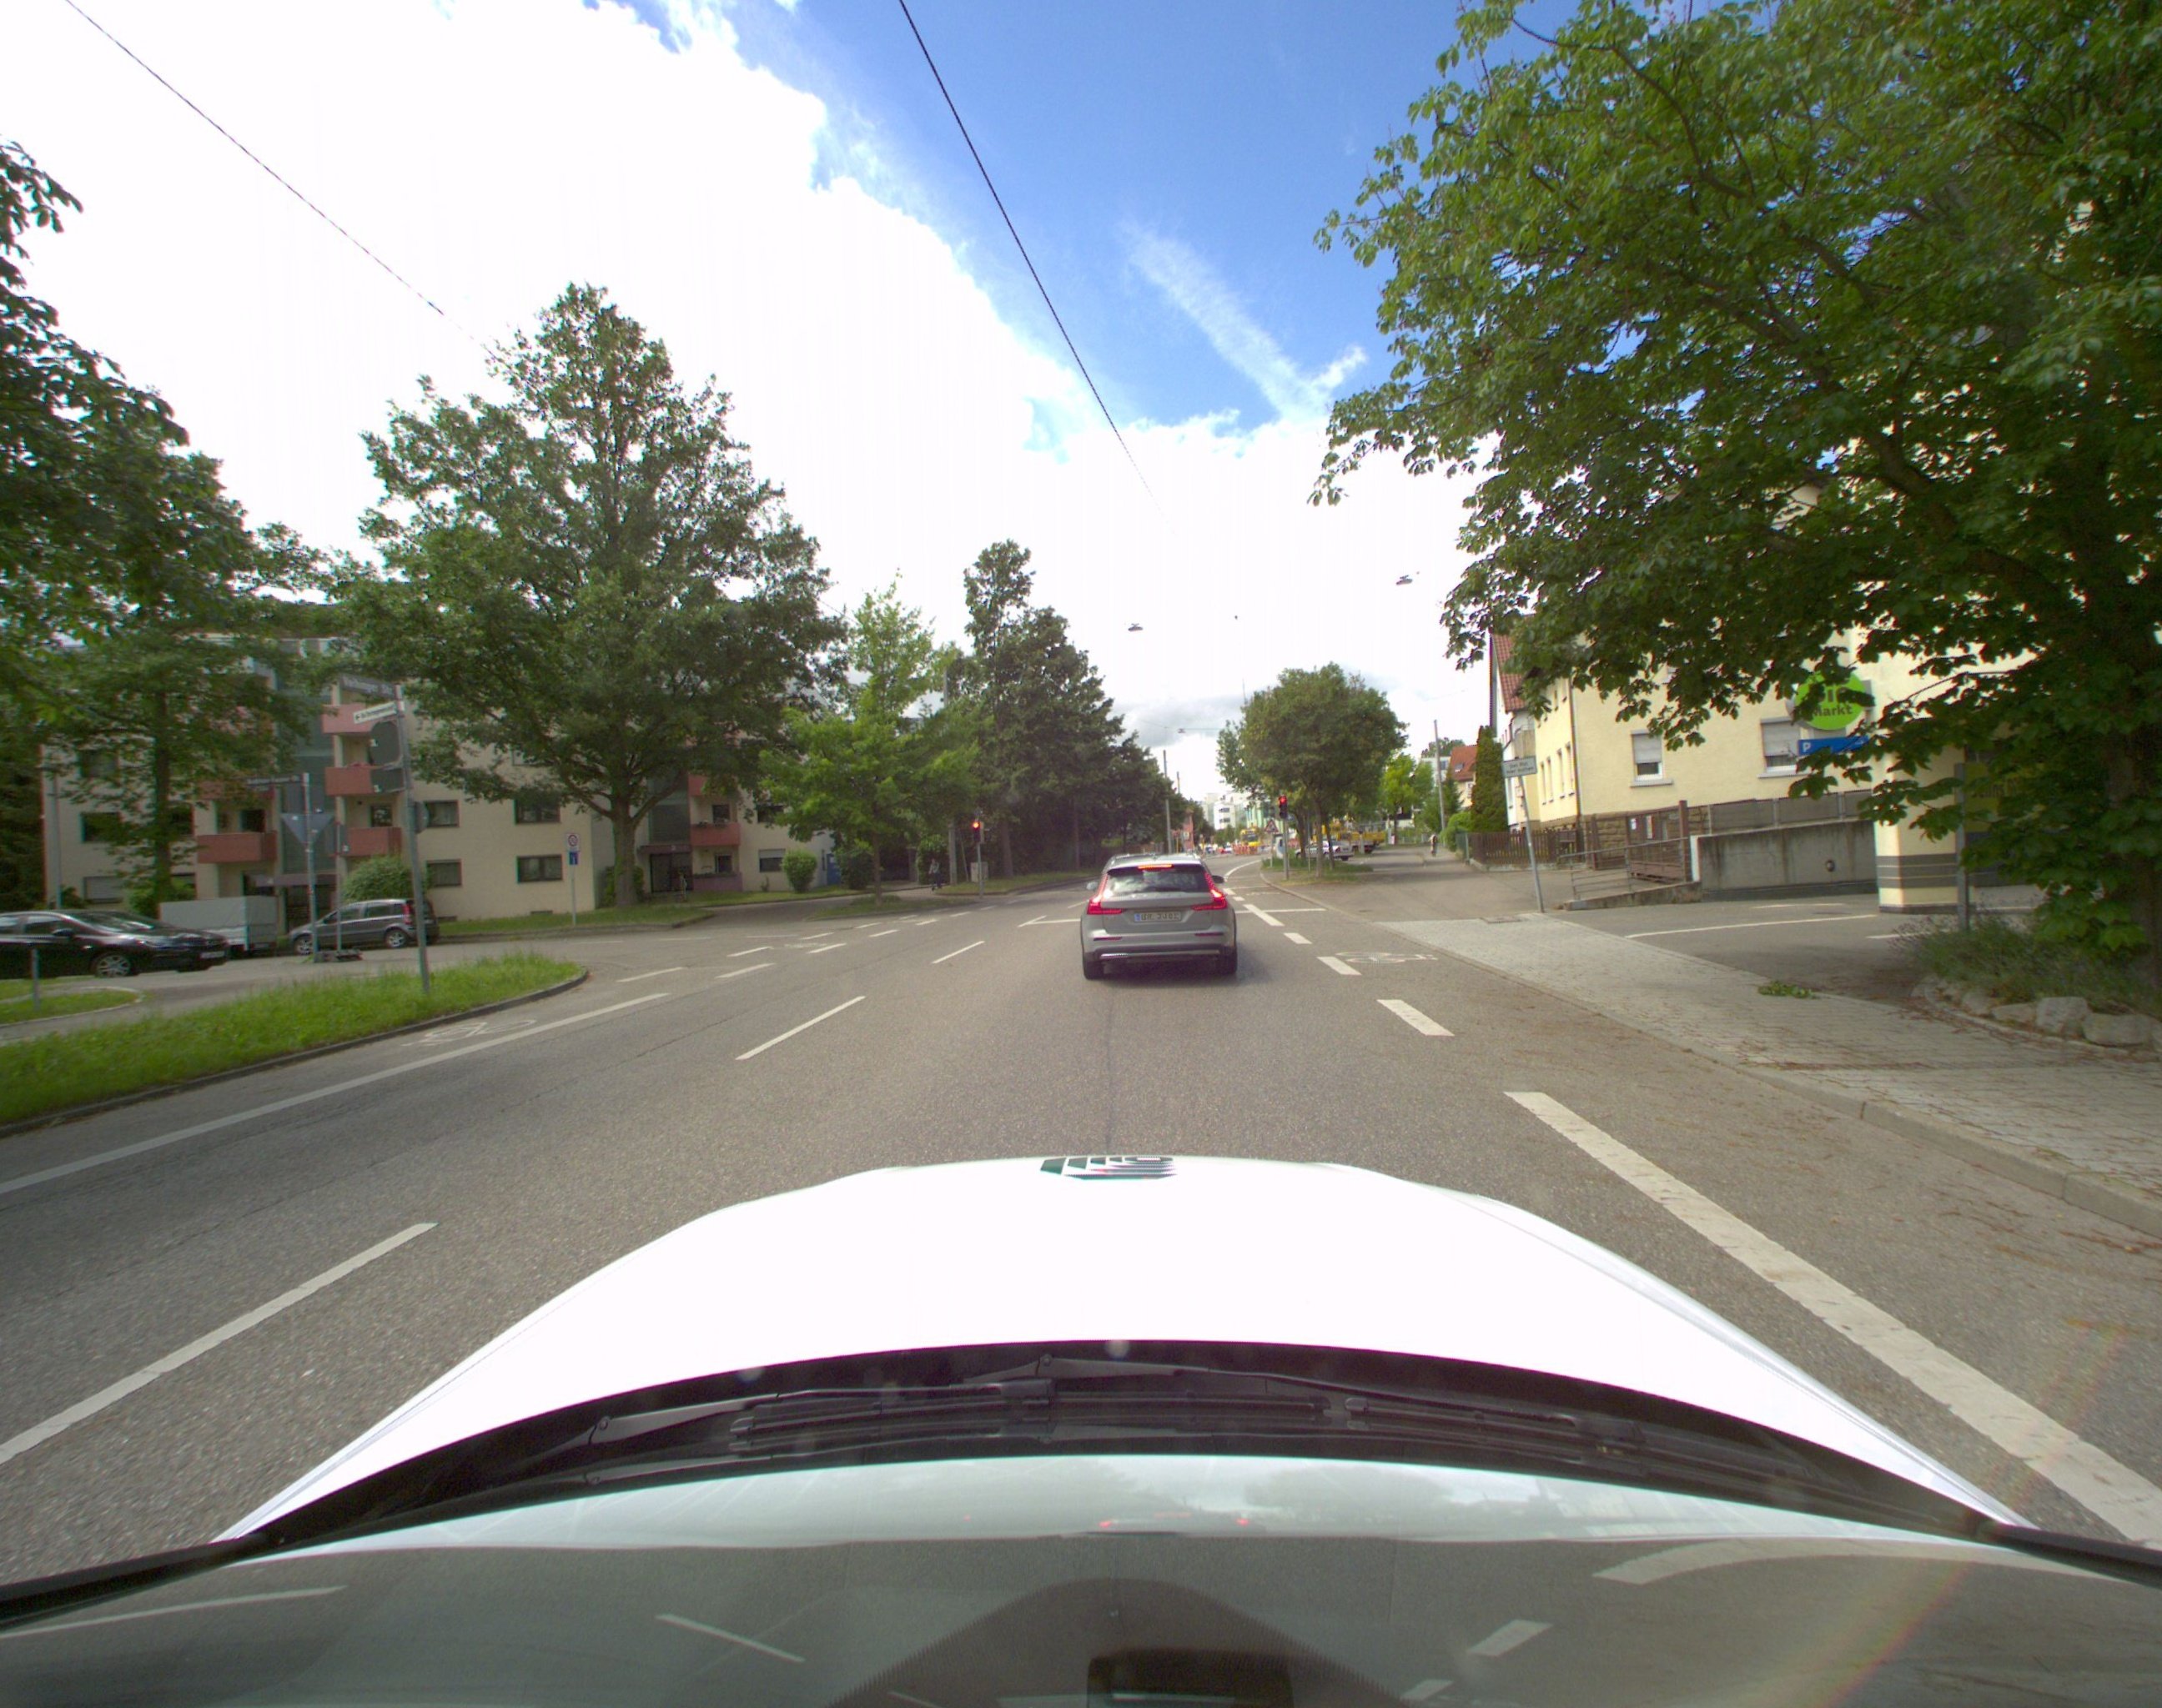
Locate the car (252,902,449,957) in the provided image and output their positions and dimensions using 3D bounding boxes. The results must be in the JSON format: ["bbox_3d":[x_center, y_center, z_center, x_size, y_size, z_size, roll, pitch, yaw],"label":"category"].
[{"bbox_3d":[-22.003,2.265,24.696,4.075,1.400,1.789,-2,-4,-8],"label":"car"}]

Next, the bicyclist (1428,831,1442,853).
[{"bbox_3d":[23.681,-0.784,54.430,0.771,1.399,0.706,-3,-1,21],"label":"bicyclist"}]

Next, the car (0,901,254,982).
[{"bbox_3d":[-19.487,1.724,16.119,4.075,1.400,1.789,-2,-4,-8],"label":"car"}]

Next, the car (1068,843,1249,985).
[{"bbox_3d":[1.109,0.655,11.215,1.946,1.523,4.337,-2,0,7],"label":"car"}]

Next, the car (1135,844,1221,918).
[{"bbox_3d":[2.269,0.548,19.205,1.795,1.523,4.337,0,0,6],"label":"car"}]

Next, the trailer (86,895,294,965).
[{"bbox_3d":[-26.270,2.217,24.147,3.906,1.799,1.625,-2,-4,-10],"label":"trailer"}]

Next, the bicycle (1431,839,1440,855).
[{"bbox_3d":[23.776,-0.437,54.572,0.457,1.035,2.778,-3,-1,23],"label":"bicycle"}]

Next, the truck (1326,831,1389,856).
[{"bbox_3d":[24.088,-0.957,70.881,5.634,2.014,2.068,-1,-1,-31],"label":"truck"}]

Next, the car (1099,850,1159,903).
[{"bbox_3d":[1.520,0.715,26.937,1.797,1.616,4.330,0,-1,1],"label":"car"}]

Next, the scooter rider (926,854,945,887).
[{"bbox_3d":[-7.712,0.868,43.174,0.710,1.727,0.673,-1,-2,-33],"label":"scooter rider"}]

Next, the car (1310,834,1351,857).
[{"bbox_3d":[23.262,-0.830,75.905,3.784,2.014,1.724,-1,-2,-36],"label":"car"}]

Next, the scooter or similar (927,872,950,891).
[{"bbox_3d":[-7.580,1.449,43.230,0.959,0.962,0.683,-2,-1,-34],"label":"scooter or similar"}]
